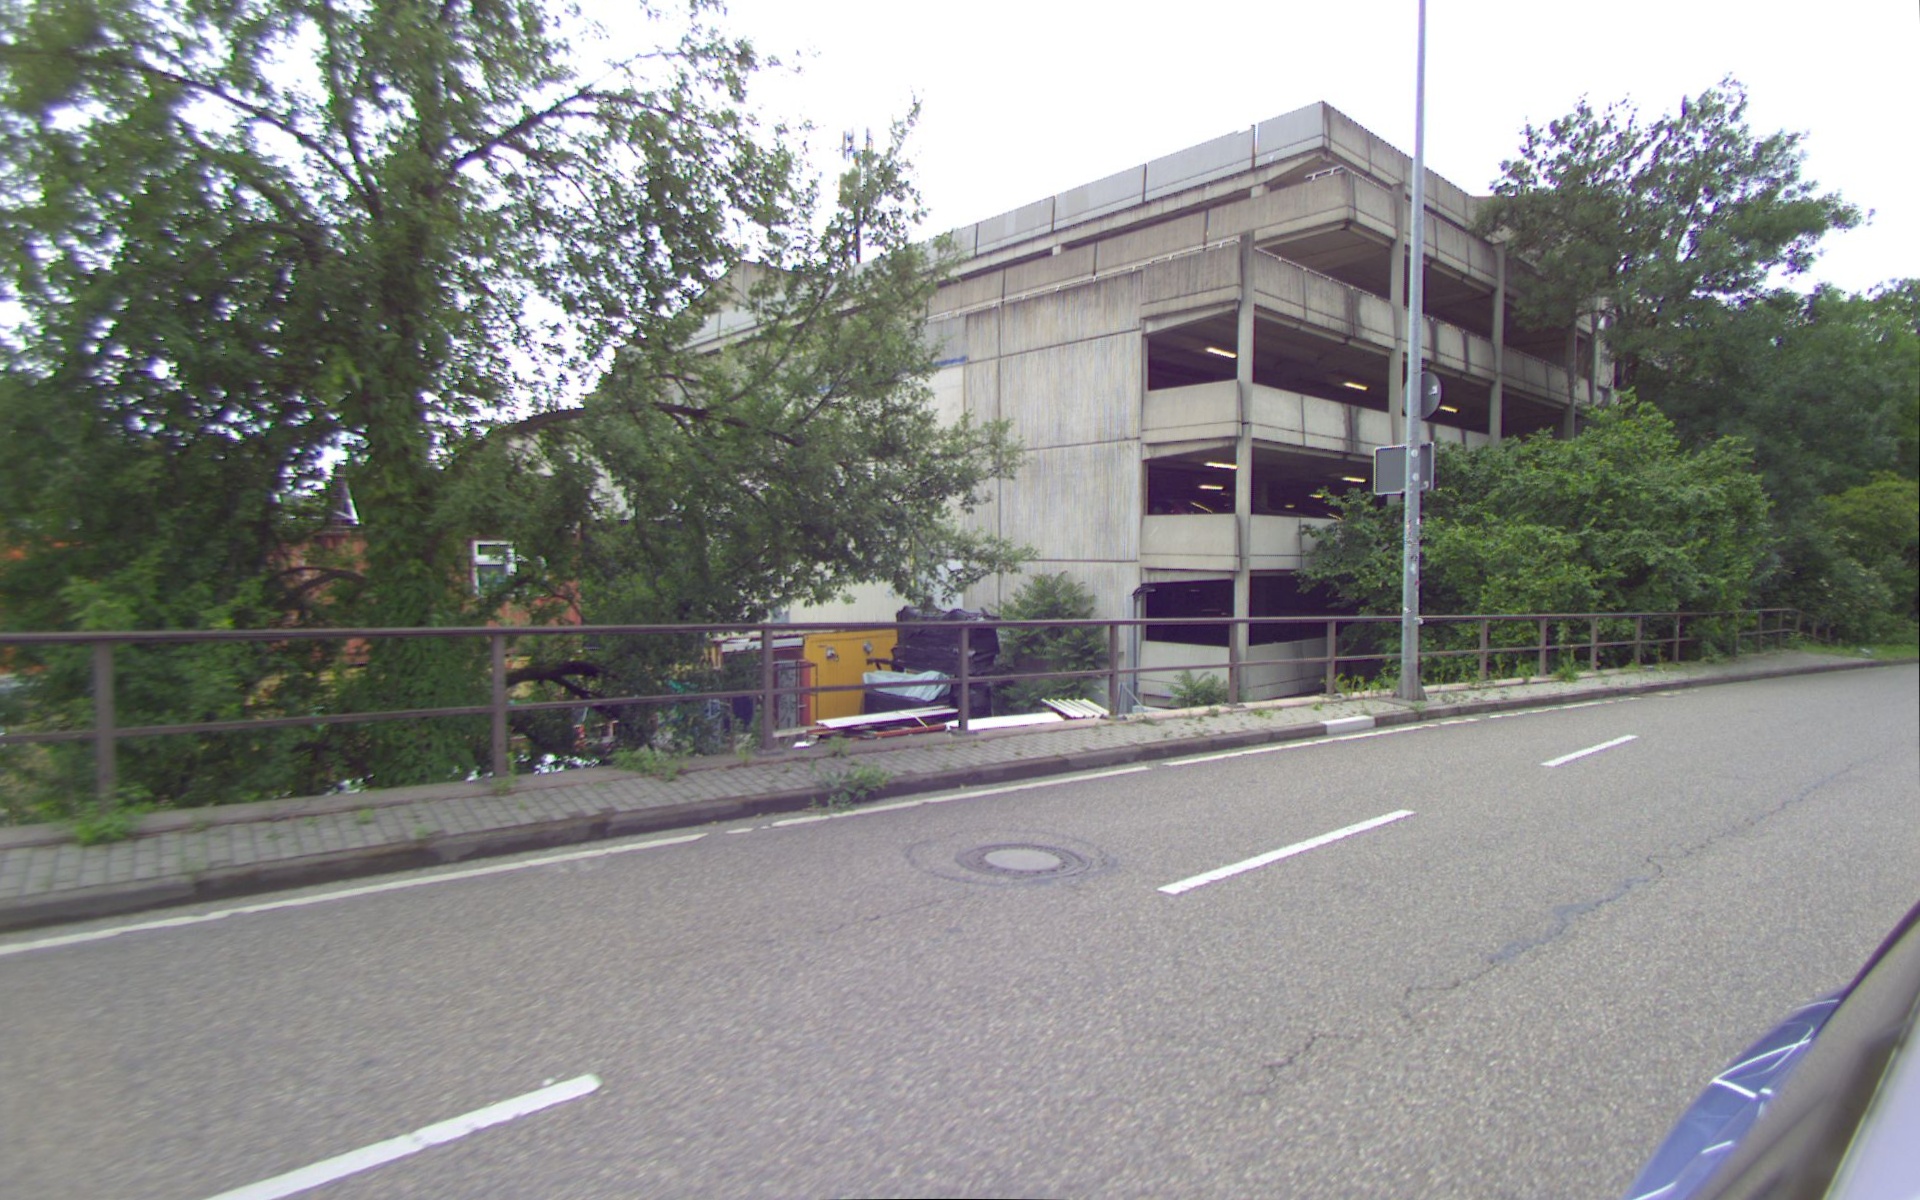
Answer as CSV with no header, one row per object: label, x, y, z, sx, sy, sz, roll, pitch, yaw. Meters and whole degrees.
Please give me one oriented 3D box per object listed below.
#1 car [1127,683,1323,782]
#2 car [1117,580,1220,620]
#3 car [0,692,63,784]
car,6.951,3.413,26.900,1.967,1.806,4.749,-2,3,-43
car,8.830,-0.034,43.126,1.845,1.497,3.992,-4,4,-43
car,-23.073,3.287,24.332,1.963,1.551,3.999,0,3,-37
